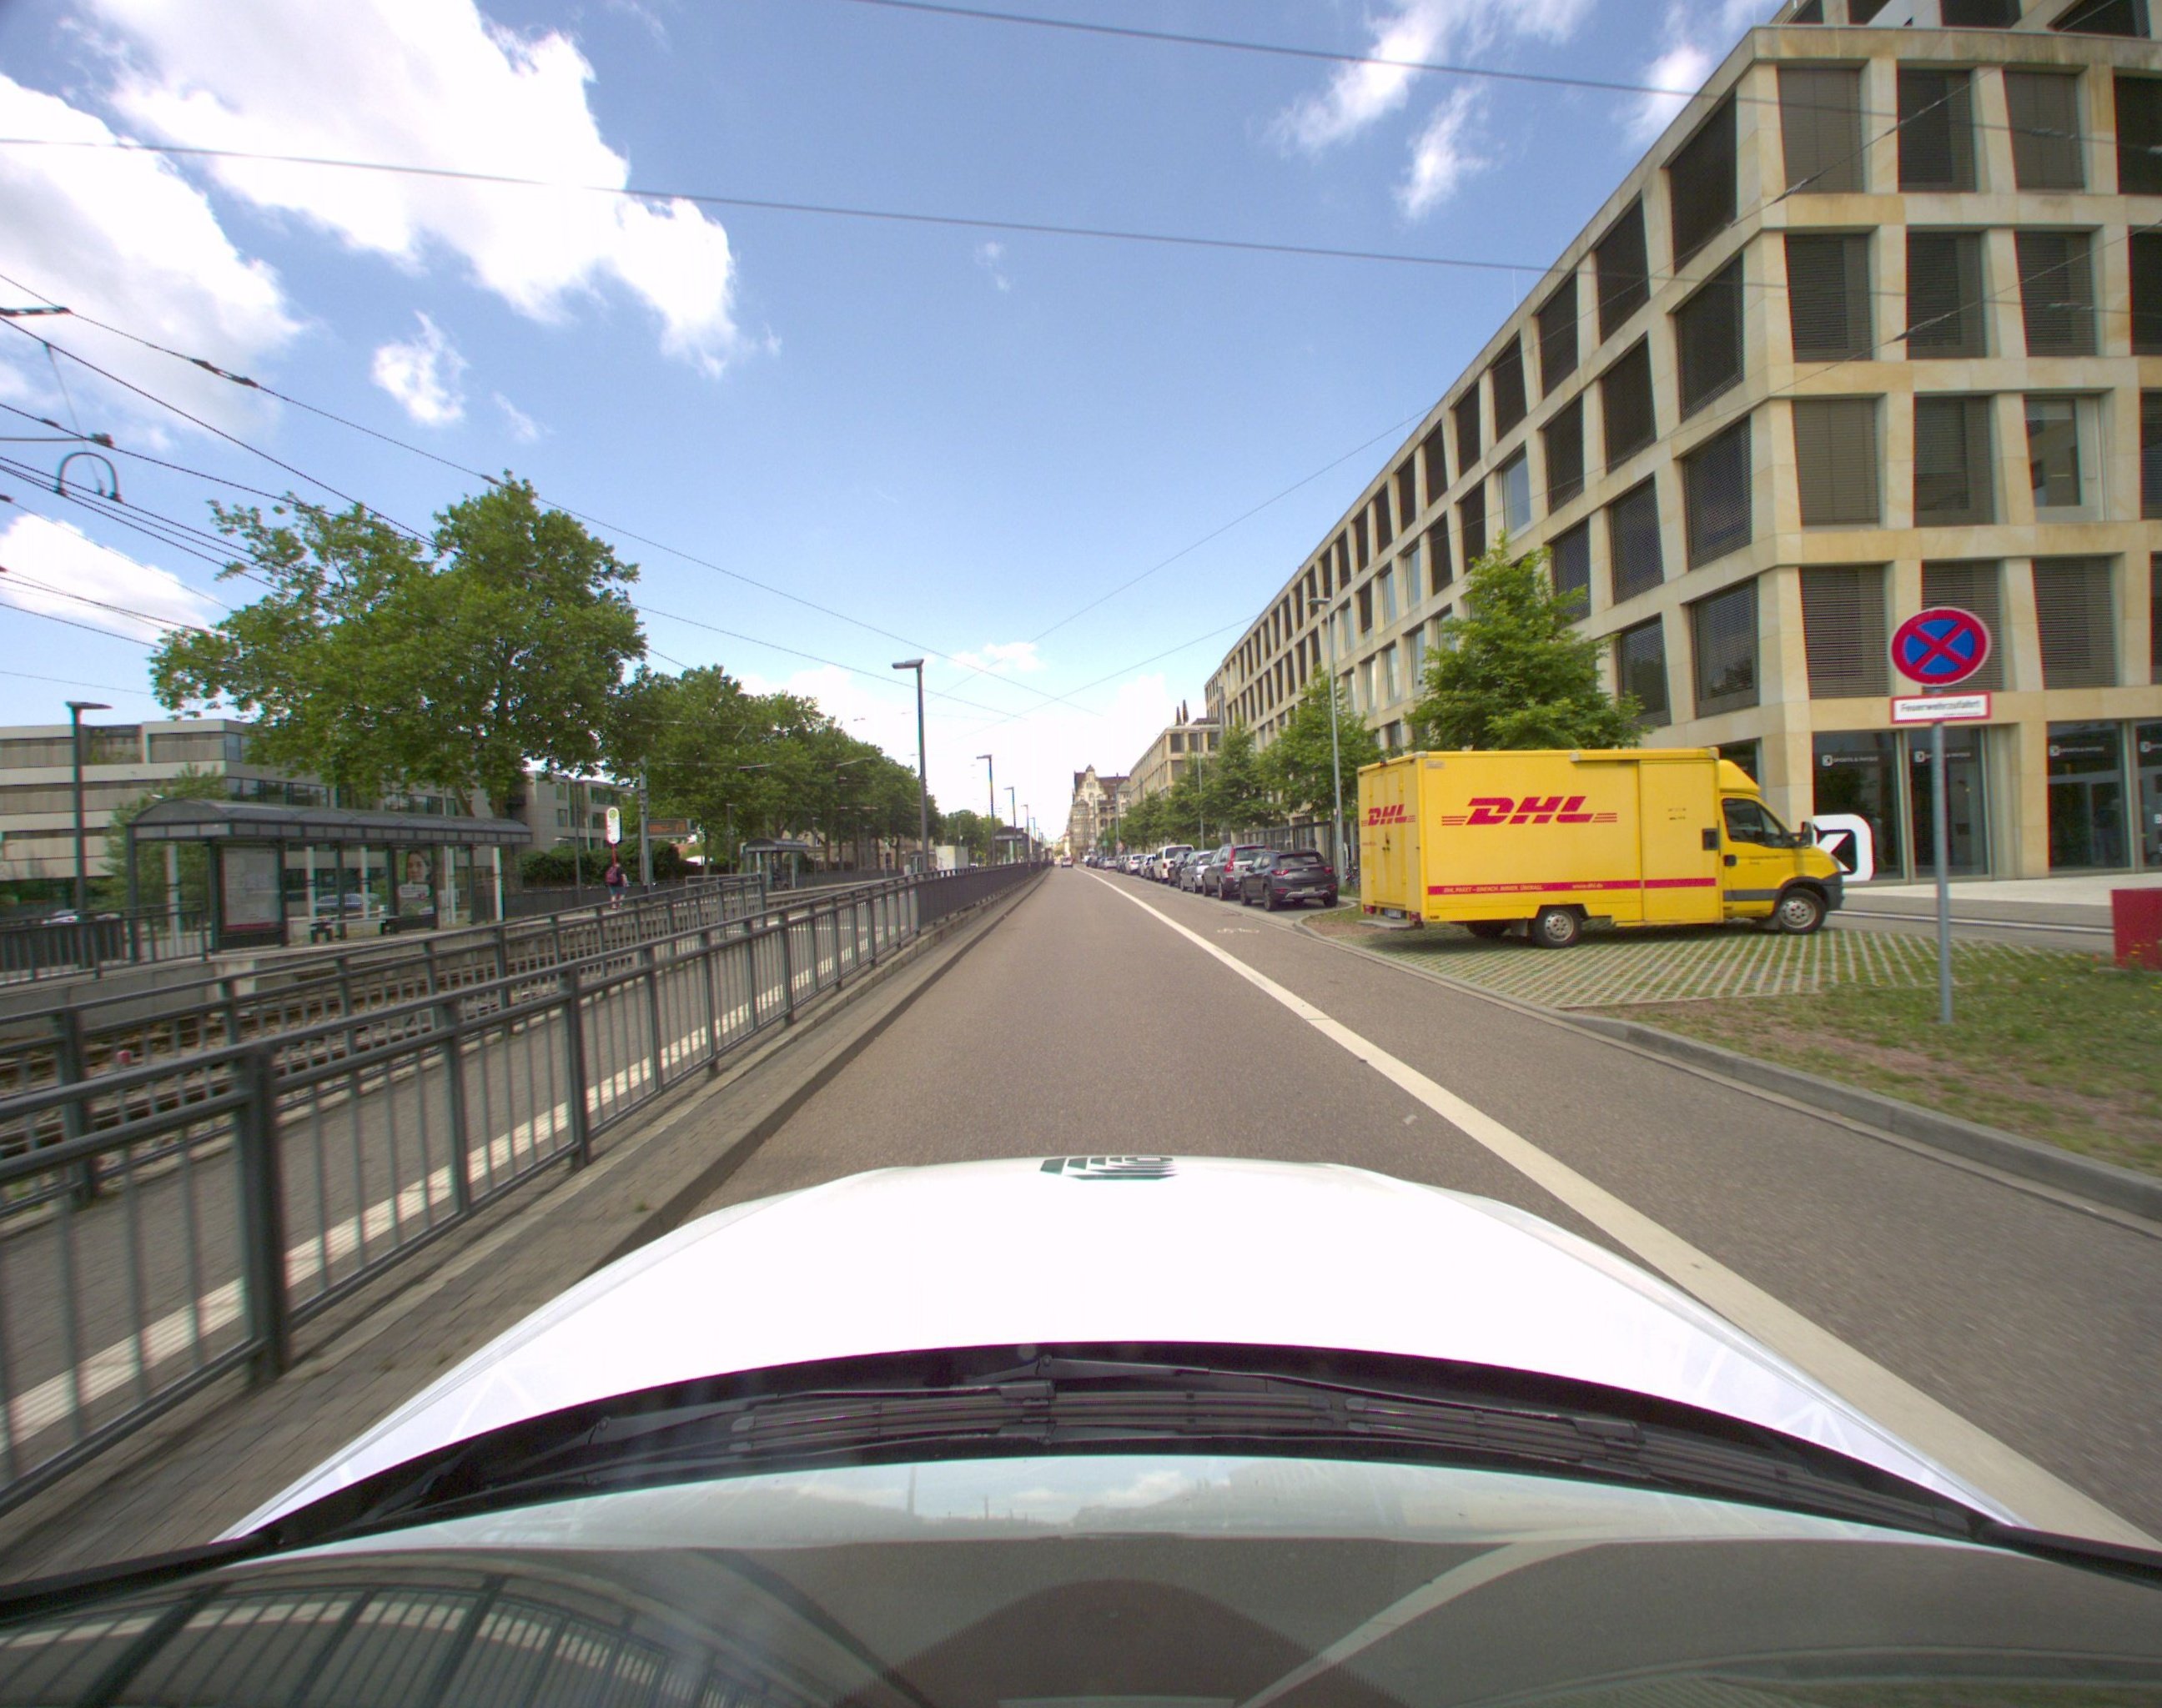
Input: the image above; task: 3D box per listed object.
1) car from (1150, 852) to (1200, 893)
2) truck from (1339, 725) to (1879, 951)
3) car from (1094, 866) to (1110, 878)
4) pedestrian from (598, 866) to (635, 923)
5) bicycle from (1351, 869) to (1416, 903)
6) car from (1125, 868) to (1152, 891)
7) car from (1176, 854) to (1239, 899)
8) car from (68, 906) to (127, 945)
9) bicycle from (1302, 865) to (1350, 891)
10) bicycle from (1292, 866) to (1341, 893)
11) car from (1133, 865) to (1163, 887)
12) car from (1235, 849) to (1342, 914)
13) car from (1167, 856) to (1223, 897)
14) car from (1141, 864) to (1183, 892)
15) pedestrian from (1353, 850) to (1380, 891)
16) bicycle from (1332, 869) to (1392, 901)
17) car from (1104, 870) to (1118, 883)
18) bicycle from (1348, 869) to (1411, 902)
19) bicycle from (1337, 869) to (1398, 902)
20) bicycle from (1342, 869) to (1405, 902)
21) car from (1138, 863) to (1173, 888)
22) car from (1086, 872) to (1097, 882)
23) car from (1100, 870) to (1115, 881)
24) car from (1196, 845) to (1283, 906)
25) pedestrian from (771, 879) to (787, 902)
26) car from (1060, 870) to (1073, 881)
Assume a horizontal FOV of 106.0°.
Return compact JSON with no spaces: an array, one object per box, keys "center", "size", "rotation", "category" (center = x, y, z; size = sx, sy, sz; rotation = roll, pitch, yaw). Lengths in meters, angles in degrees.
[{"center":[4.958,0.984,43.674],"size":[1.877,1.939,4.839],"rotation":[-4,-1,-2],"category":"car"},{"center":[7.810,-0.223,12.556],"size":[6.793,2.867,2.451],"rotation":[-2,-2,-4],"category":"truck"},{"center":[2.942,2.500,114.611],"size":[1.734,1.669,4.834],"rotation":[0,-1,-3],"category":"car"},{"center":[-15.552,1.342,27.274],"size":[0.704,1.845,0.864],"rotation":[-2,0,-3],"category":"pedestrian"},{"center":[9.266,0.985,24.967],"size":[1.837,0.994,0.439],"rotation":[2,-2,-3],"category":"bicycle"},{"center":[4.499,2.008,64.512],"size":[1.681,1.606,4.148],"rotation":[-4,-1,-2],"category":"car"},{"center":[4.964,0.886,32.411],"size":[1.716,1.620,3.857],"rotation":[-2,-1,-2],"category":"car"},{"center":[-56.576,4.065,46.833],"size":[3.948,2.013,2.013],"rotation":[-3,-1,38],"category":"car"},{"center":[10.049,0.994,33.448],"size":[1.837,1.056,0.439],"rotation":[0,-2,-3],"category":"bicycle"},{"center":[9.410,1.013,32.613],"size":[1.837,1.056,0.439],"rotation":[0,-2,-3],"category":"bicycle"},{"center":[4.819,1.577,59.423],"size":[1.681,1.457,3.947],"rotation":[-4,-1,-2],"category":"car"},{"center":[5.413,0.715,21.783],"size":[1.687,1.505,4.065],"rotation":[-2,-1,-2],"category":"car"},{"center":[5.122,1.021,37.280],"size":[1.716,1.640,4.524],"rotation":[-4,-1,-2],"category":"car"},{"center":[4.840,1.429,49.128],"size":[1.877,1.487,4.560],"rotation":[-3,-1,-2],"category":"car"},{"center":[11.129,0.630,31.730],"size":[0.635,1.551,0.904],"rotation":[-2,-1,-2],"category":"pedestrian"},{"center":[9.263,1.025,26.859],"size":[1.837,0.994,0.439],"rotation":[2,-2,-3],"category":"bicycle"},{"center":[3.565,2.695,97.255],"size":[1.586,1.460,3.611],"rotation":[-1,-1,0],"category":"car"},{"center":[9.319,0.986,25.447],"size":[1.837,0.994,0.439],"rotation":[2,-2,-3],"category":"bicycle"},{"center":[9.278,1.012,26.378],"size":[1.837,0.994,0.439],"rotation":[2,-2,-3],"category":"bicycle"},{"center":[9.308,0.999,25.915],"size":[1.837,0.994,0.439],"rotation":[2,-2,-3],"category":"bicycle"},{"center":[4.913,1.437,54.416],"size":[1.788,1.530,4.155],"rotation":[-4,-1,-2],"category":"car"},{"center":[1.762,3.858,135.233],"size":[1.440,1.470,4.087],"rotation":[-5,-1,-3],"category":"car"},{"center":[3.558,2.902,108.511],"size":[1.588,1.434,4.101],"rotation":[0,-1,-3],"category":"car"},{"center":[5.161,0.701,27.173],"size":[1.764,1.767,4.836],"rotation":[-2,-1,-2],"category":"car"},{"center":[-17.297,2.100,46.623],"size":[0.551,1.269,0.767],"rotation":[-2,-1,0],"category":"pedestrian"},{"center":[-2.331,3.453,130.704],"size":[1.864,1.746,3.996],"rotation":[-1,-1,-2],"category":"car"}]
